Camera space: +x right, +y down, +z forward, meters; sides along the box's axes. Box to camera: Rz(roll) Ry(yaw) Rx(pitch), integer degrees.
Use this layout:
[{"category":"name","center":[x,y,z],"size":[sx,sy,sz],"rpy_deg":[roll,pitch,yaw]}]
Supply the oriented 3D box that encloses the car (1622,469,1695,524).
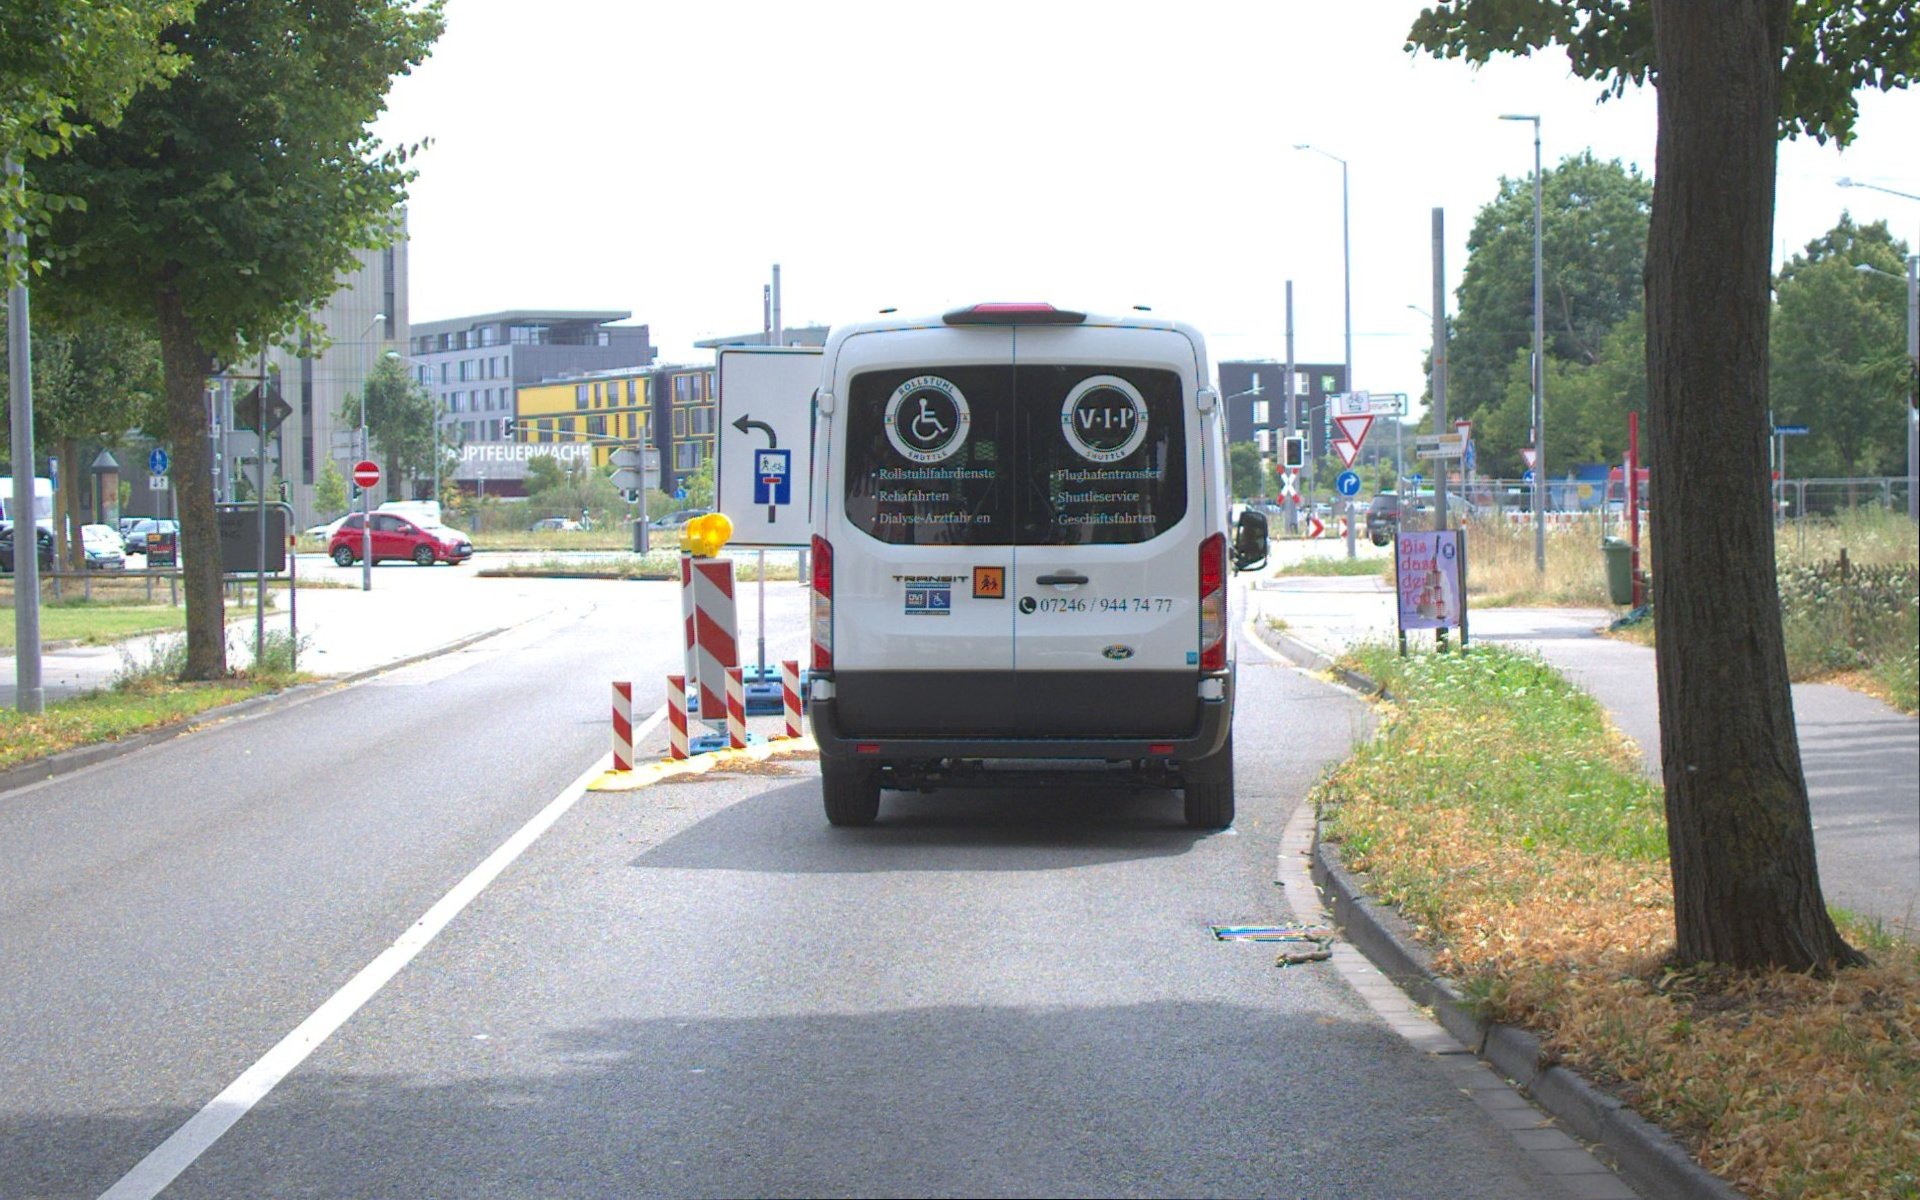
[{"category":"car","center":[24.471,-3.637,120.333],"size":[2.008,1.810,4.409],"rpy_deg":[-2,2,17]}]

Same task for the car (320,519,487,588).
[{"category":"car","center":[-15.045,-1.261,93.066],"size":[3.989,1.656,1.890],"rpy_deg":[-2,2,13]}]

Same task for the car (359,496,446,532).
[{"category":"car","center":[-28.519,-4.397,175.728],"size":[3.986,1.656,1.891],"rpy_deg":[-3,2,-22]}]

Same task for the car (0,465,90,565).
[{"category":"car","center":[-28.536,-2.502,102.726],"size":[2.612,2.841,5.673],"rpy_deg":[-4,2,-40]}]

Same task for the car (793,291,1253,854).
[{"category":"car","center":[0.398,-0.180,17.603],"size":[2.063,2.531,4.000],"rpy_deg":[1,1,3]}]
